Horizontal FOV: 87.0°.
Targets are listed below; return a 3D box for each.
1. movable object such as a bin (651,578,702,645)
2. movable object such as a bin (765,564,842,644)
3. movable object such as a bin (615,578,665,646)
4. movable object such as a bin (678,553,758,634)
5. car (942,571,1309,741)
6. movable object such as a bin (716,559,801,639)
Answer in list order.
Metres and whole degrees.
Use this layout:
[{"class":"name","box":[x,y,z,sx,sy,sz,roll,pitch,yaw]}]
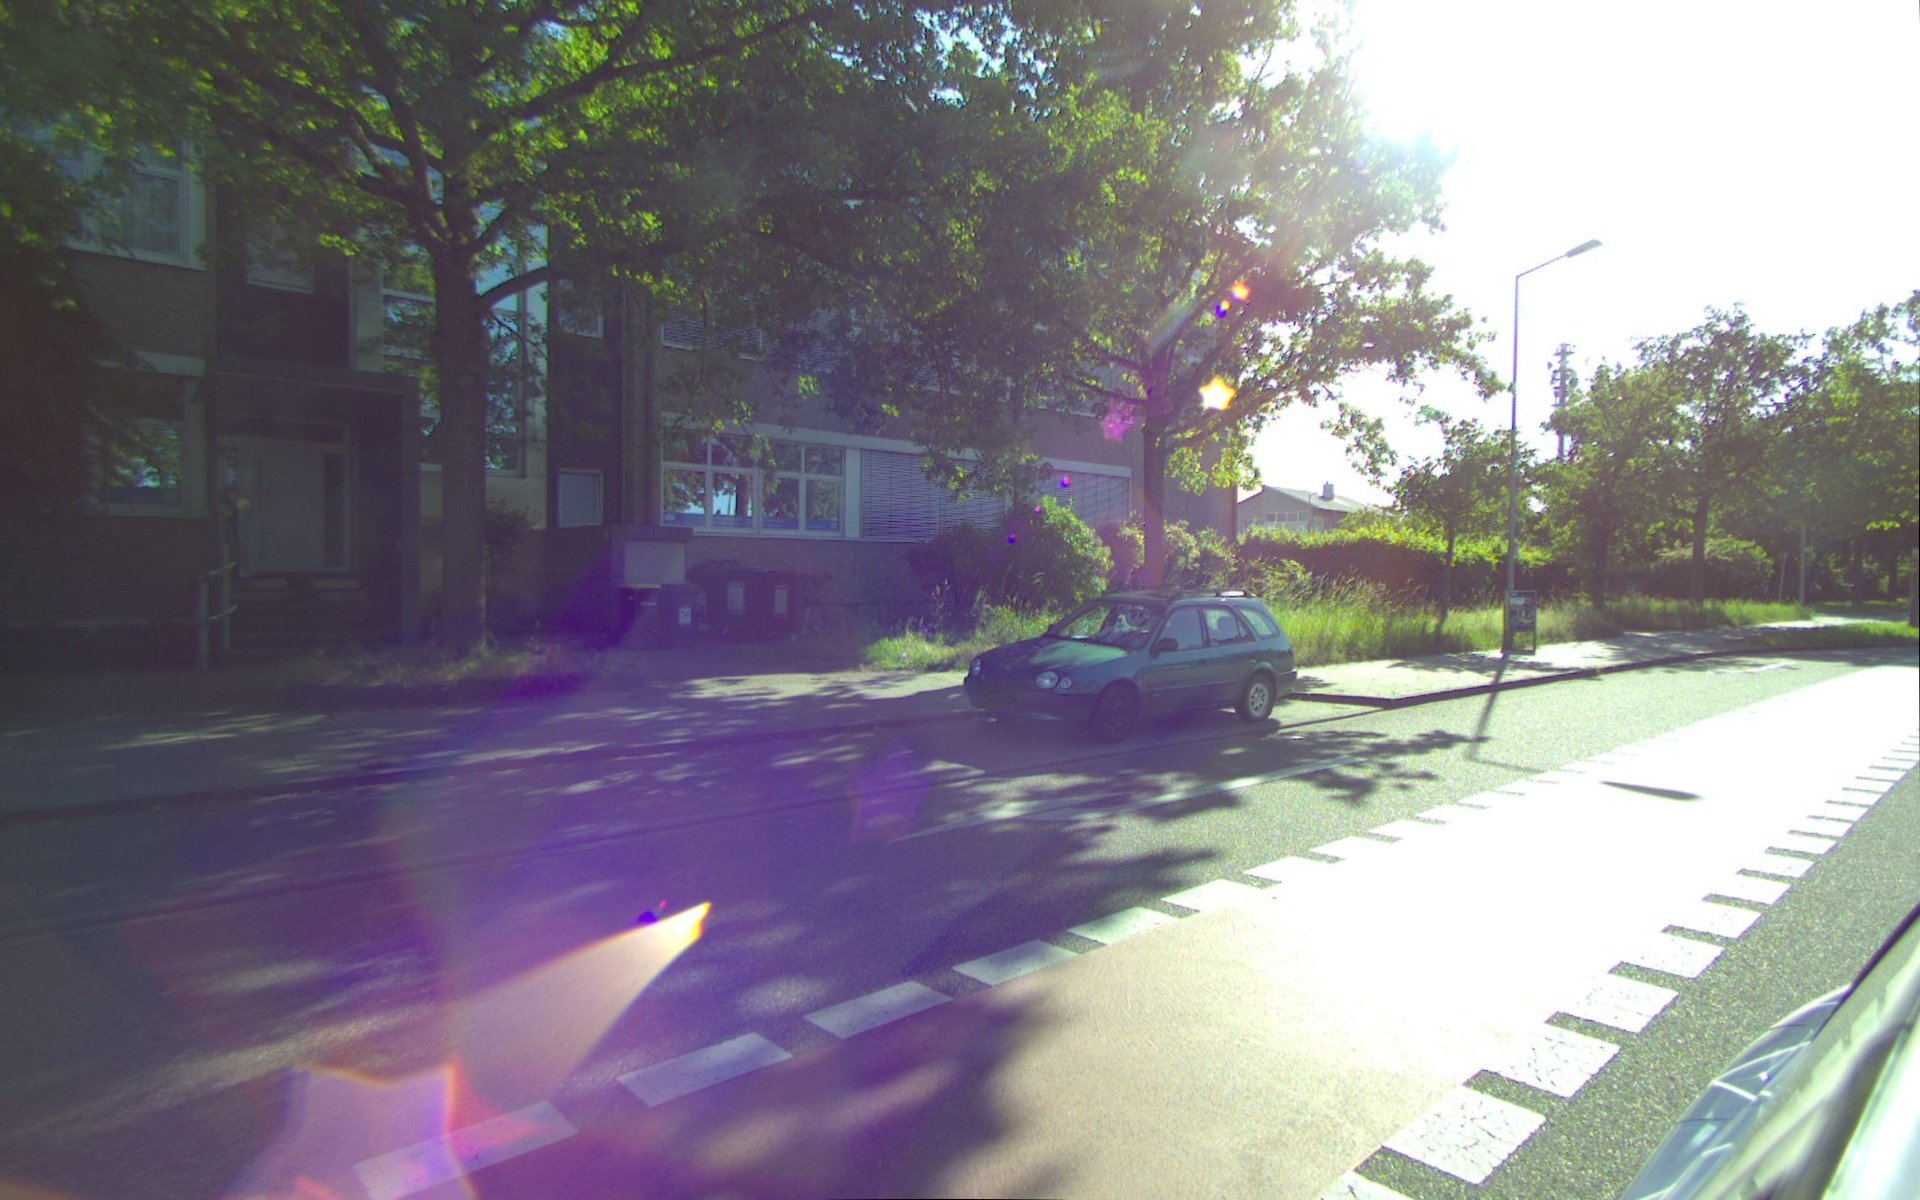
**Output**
[{"class":"movable object such as a bin","box":[-4.703,0.170,16.785,0.604,1.075,0.634,-1,2,-42]},{"class":"movable object such as a bin","box":[-2.727,0.037,17.582,0.878,1.323,1.186,-1,2,-37]},{"class":"movable object such as a bin","box":[-5.158,0.181,16.304,0.575,1.070,0.625,-1,1,-42]},{"class":"movable object such as a bin","box":[-4.730,-0.159,19.747,1.024,1.501,1.309,-1,3,-41]},{"class":"car","box":[1.919,0.490,10.949,4.068,1.487,1.705,1,1,-41]},{"class":"movable object such as a bin","box":[-3.719,-0.044,18.668,1.070,1.388,1.186,-1,3,-43]}]
